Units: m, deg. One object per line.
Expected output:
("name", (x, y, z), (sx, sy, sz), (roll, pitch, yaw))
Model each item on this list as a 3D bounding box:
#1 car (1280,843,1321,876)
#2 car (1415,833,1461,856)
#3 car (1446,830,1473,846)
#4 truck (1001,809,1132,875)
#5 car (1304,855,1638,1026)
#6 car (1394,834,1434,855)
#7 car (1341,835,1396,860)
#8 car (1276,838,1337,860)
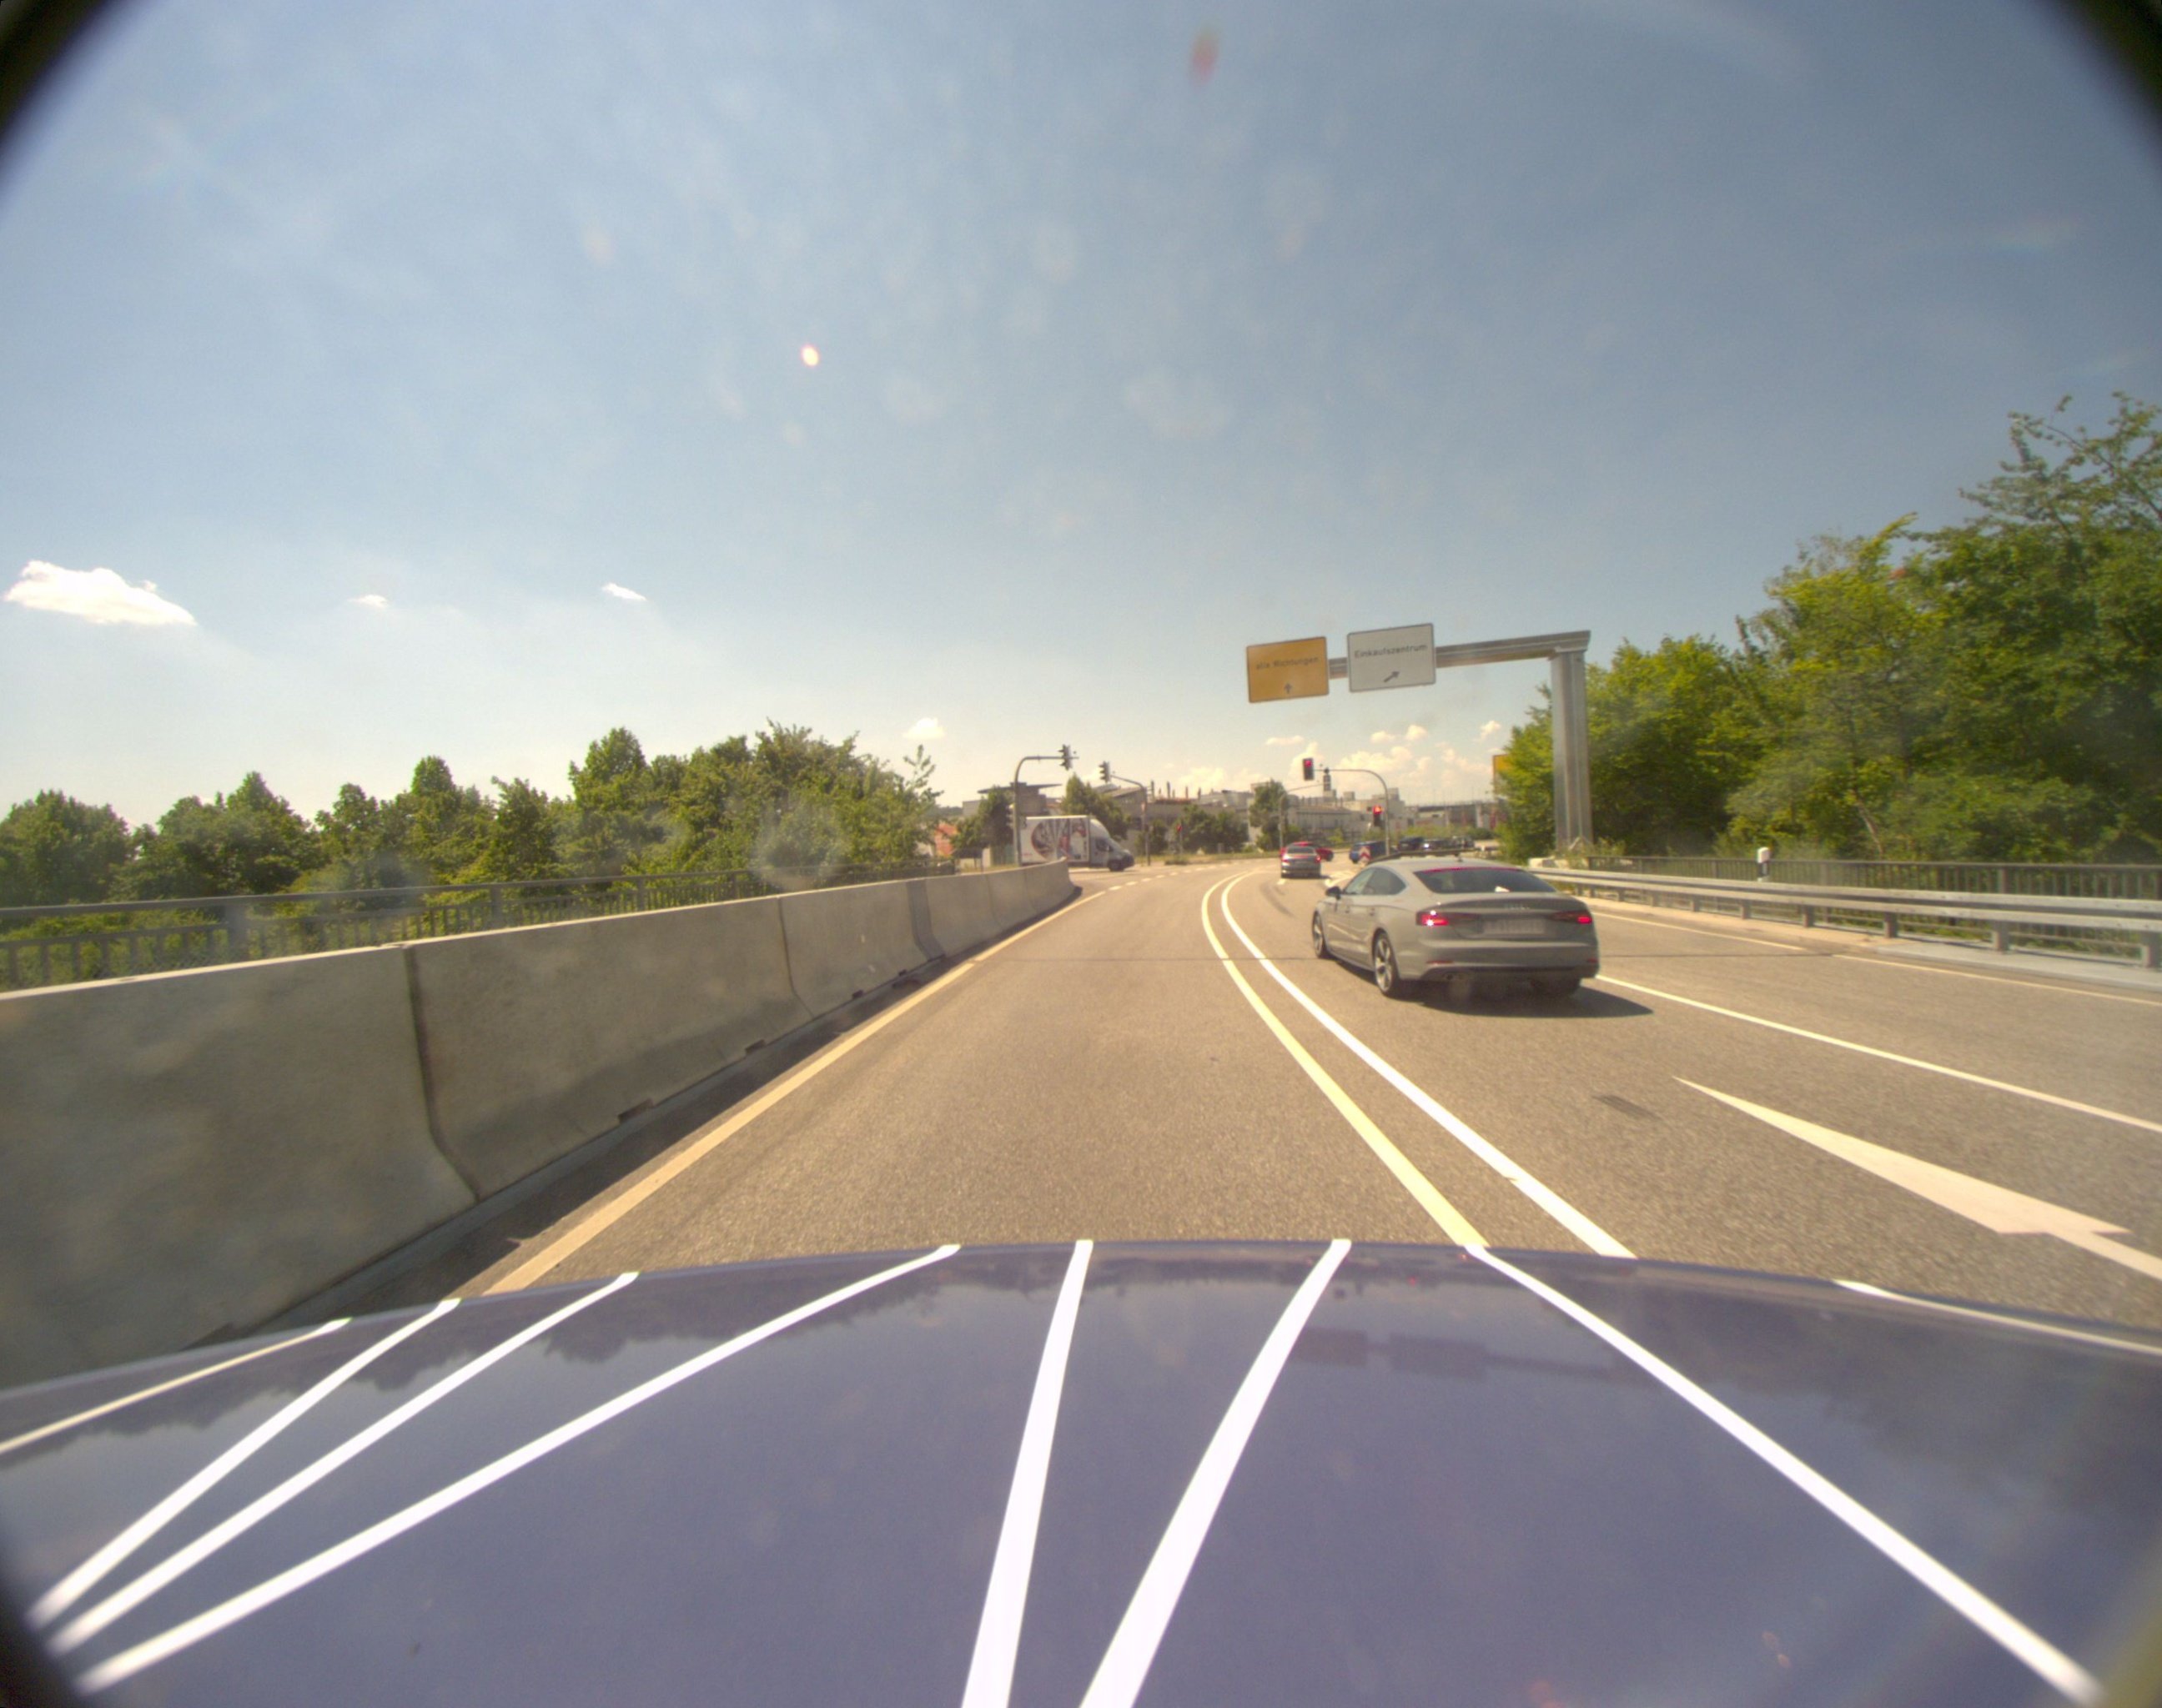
("car", (9.931, 0.196, 34.331), (1.647, 1.344, 3.973), (1, 1, 16))
("car", (28.025, -0.774, 59.537), (4.437, 1.475, 1.778), (-5, 6, -44))
("car", (39.090, -1.702, 78.426), (1.619, 1.400, 3.306), (5, 7, 41))
("truck", (-0.823, -0.730, 45.512), (7.190, 3.330, 2.416), (-4, 4, 13))
("car", (3.934, 0.743, 8.592), (1.783, 1.377, 4.282), (-1, 1, 4))
("car", (29.963, -0.850, 68.267), (1.875, 1.593, 4.513), (4, 6, 42))
("car", (19.377, -0.460, 51.066), (4.497, 1.454, 1.708), (-3, 4, -44))
("car", (16.145, -0.413, 54.364), (4.457, 1.381, 1.661), (-3, 3, -33))
